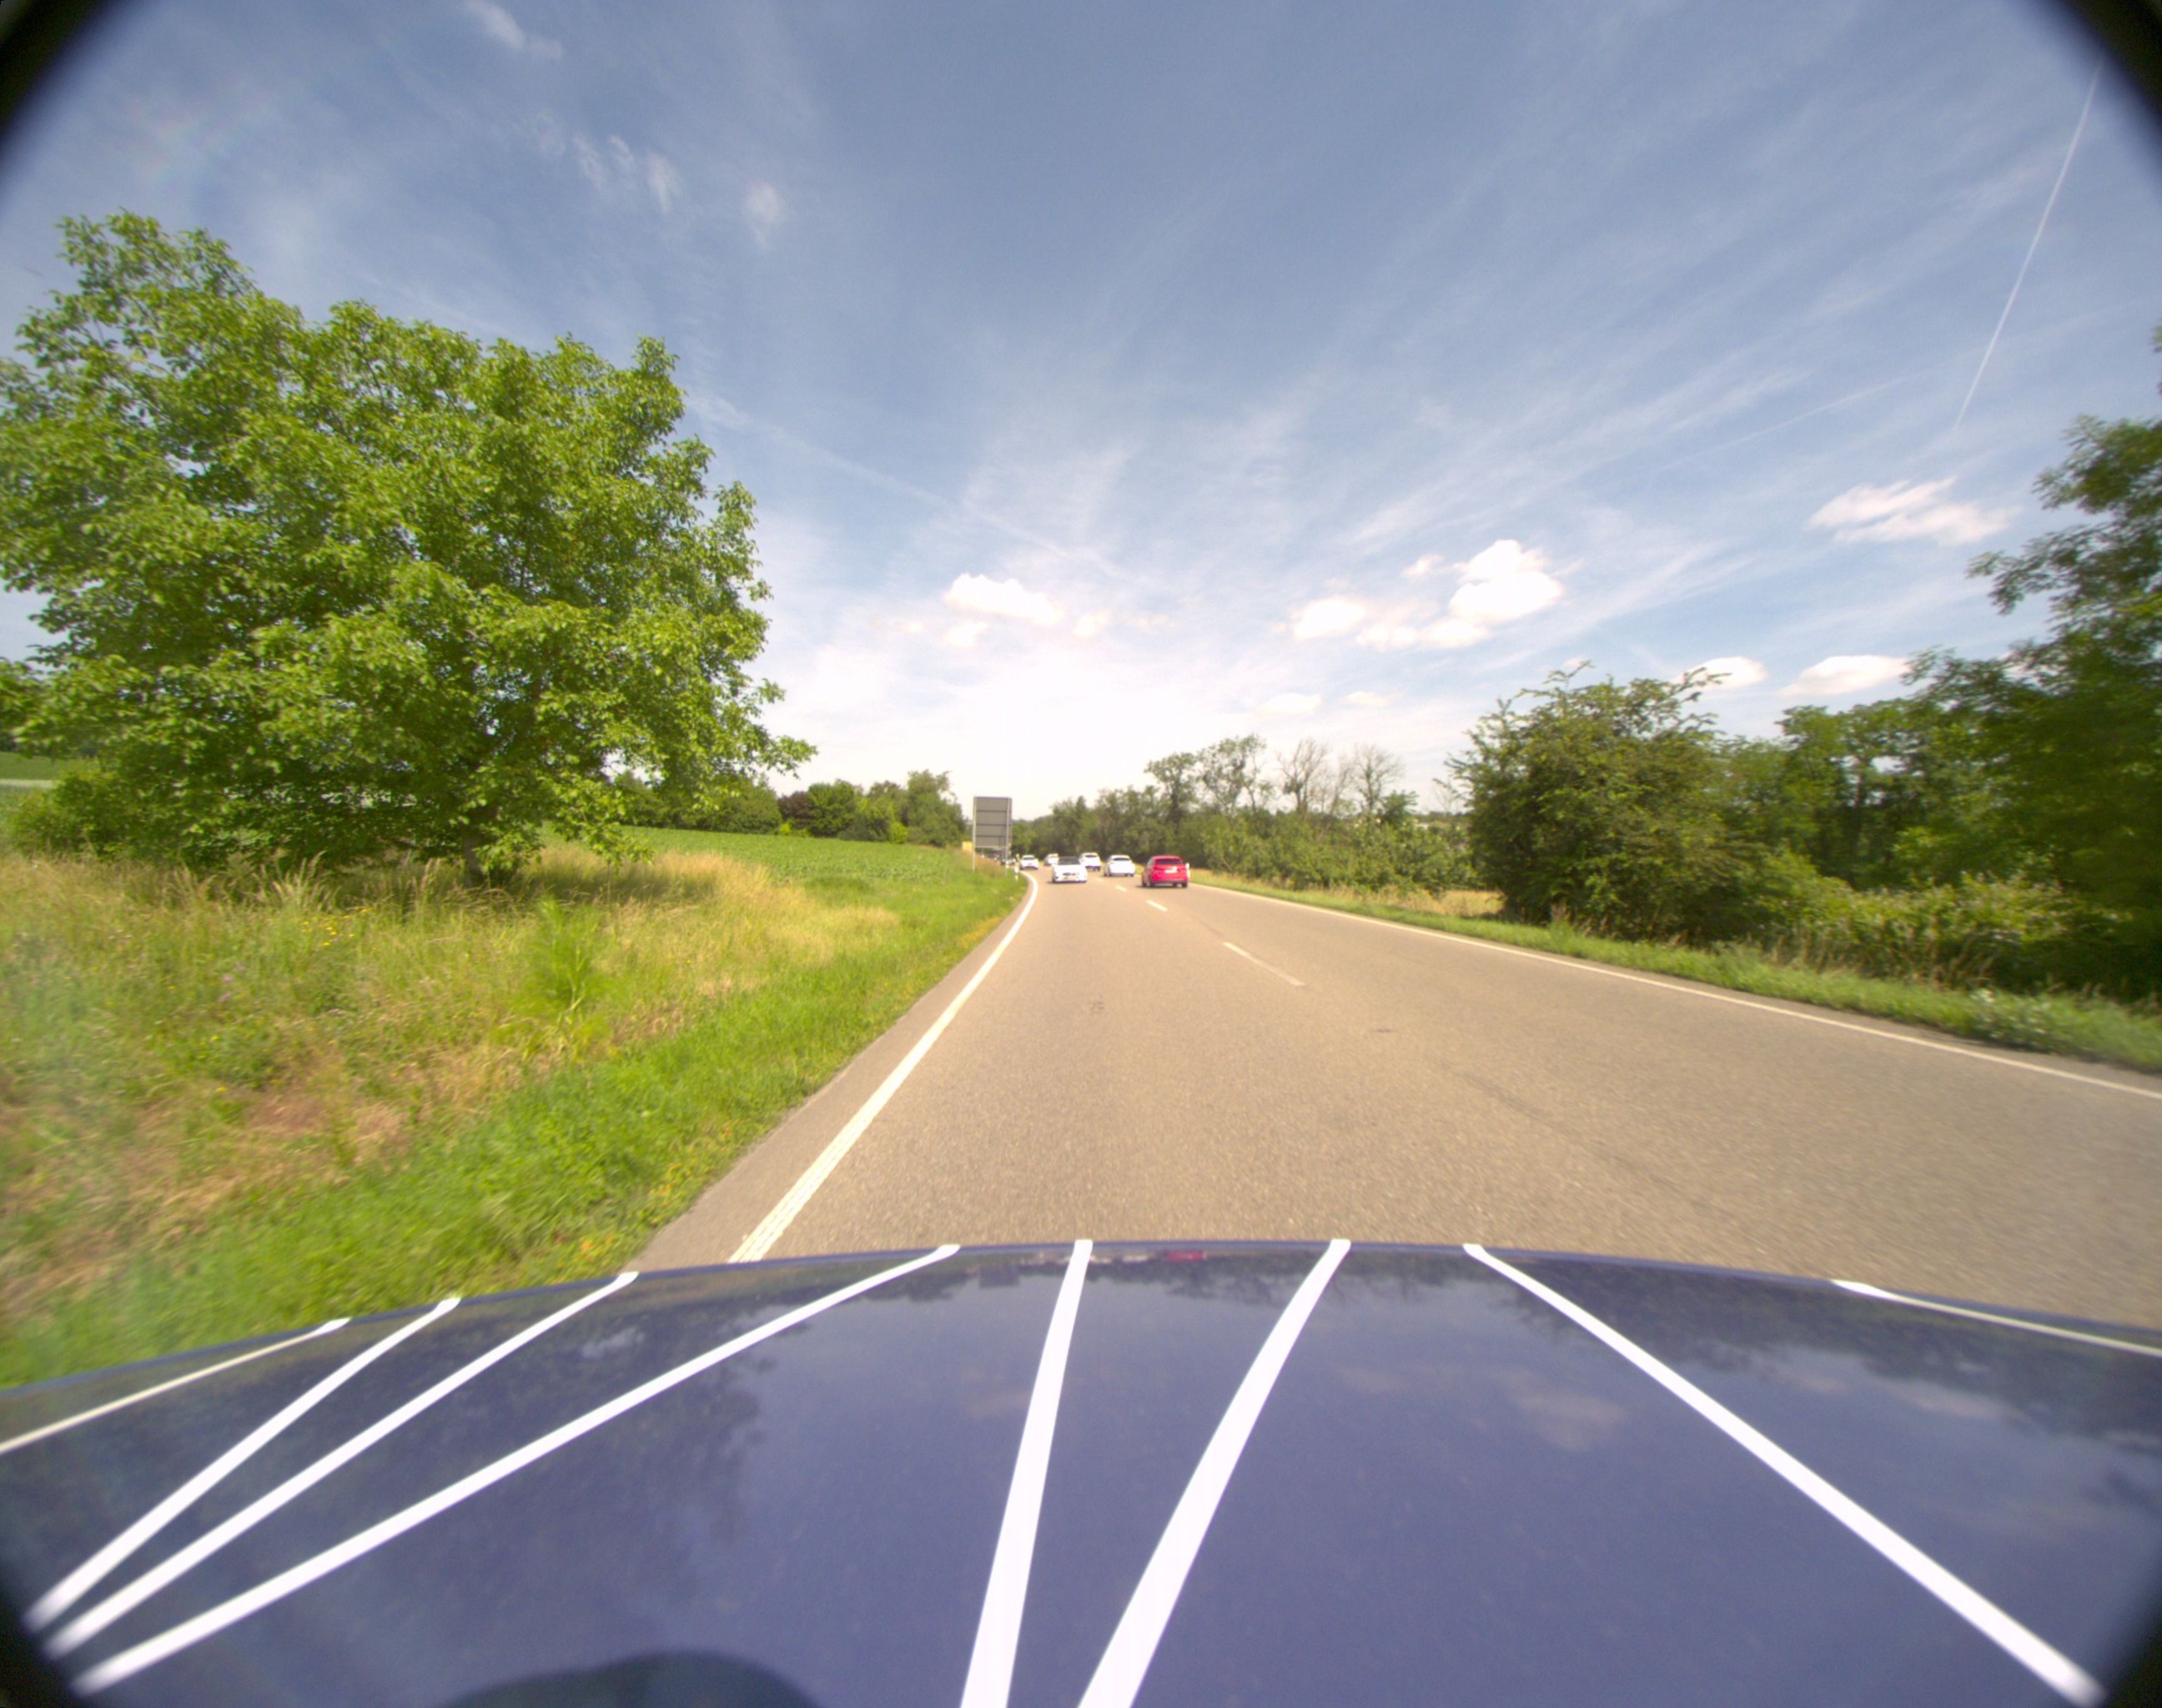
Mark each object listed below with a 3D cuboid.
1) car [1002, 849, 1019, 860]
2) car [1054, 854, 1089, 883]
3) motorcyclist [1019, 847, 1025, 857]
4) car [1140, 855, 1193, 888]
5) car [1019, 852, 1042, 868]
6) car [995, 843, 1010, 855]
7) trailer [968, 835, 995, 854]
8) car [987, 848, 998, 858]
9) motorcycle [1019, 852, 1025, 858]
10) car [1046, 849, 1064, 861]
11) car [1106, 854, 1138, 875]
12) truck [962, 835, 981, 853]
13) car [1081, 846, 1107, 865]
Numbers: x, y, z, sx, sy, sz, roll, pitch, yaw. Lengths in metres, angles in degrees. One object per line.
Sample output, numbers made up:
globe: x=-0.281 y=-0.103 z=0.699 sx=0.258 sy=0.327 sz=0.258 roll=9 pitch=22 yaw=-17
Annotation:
car: x=-10.131 y=0.045 z=108.611 sx=1.827 sy=1.511 sz=3.995 roll=0 pitch=1 yaw=-13
car: x=-0.585 y=0.783 z=43.477 sx=1.773 sy=1.437 sz=3.998 roll=-2 pitch=1 yaw=-3
motorcyclist: x=-10.253 y=-0.422 z=131.829 sx=0.922 sy=1.708 sz=0.961 roll=-1 pitch=1 yaw=-10
car: x=3.881 y=0.758 z=35.171 sx=1.825 sy=1.390 sz=4.181 roll=0 pitch=0 yaw=-2
car: x=-5.386 y=0.594 z=80.769 sx=1.868 sy=1.480 sz=3.995 roll=-2 pitch=2 yaw=-10
car: x=-15.603 y=-1.035 z=151.281 sx=2.179 sy=2.290 sz=4.899 roll=0 pitch=1 yaw=-16
trailer: x=-22.451 y=-2.281 z=171.120 sx=3.010 sy=4.020 sz=12.890 roll=3 pitch=0 yaw=-21
car: x=-15.212 y=-0.224 z=130.126 sx=1.667 sy=1.641 sz=3.996 roll=0 pitch=1 yaw=-10
motorcycle: x=-10.273 y=0.099 z=131.971 sx=0.760 sy=0.988 sz=2.277 roll=0 pitch=1 yaw=-11
car: x=-3.443 y=0.132 z=99.019 sx=1.796 sy=1.513 sz=4.156 roll=0 pitch=1 yaw=-9
car: x=2.794 y=0.683 z=52.671 sx=1.756 sy=1.406 sz=3.771 roll=0 pitch=0 yaw=-5
truck: x=-25.770 y=-2.495 z=179.230 sx=2.820 sy=4.043 sz=5.971 roll=3 pitch=1 yaw=-23
car: x=1.182 y=0.115 z=70.089 sx=1.839 sy=1.607 sz=4.359 roll=0 pitch=1 yaw=-6
